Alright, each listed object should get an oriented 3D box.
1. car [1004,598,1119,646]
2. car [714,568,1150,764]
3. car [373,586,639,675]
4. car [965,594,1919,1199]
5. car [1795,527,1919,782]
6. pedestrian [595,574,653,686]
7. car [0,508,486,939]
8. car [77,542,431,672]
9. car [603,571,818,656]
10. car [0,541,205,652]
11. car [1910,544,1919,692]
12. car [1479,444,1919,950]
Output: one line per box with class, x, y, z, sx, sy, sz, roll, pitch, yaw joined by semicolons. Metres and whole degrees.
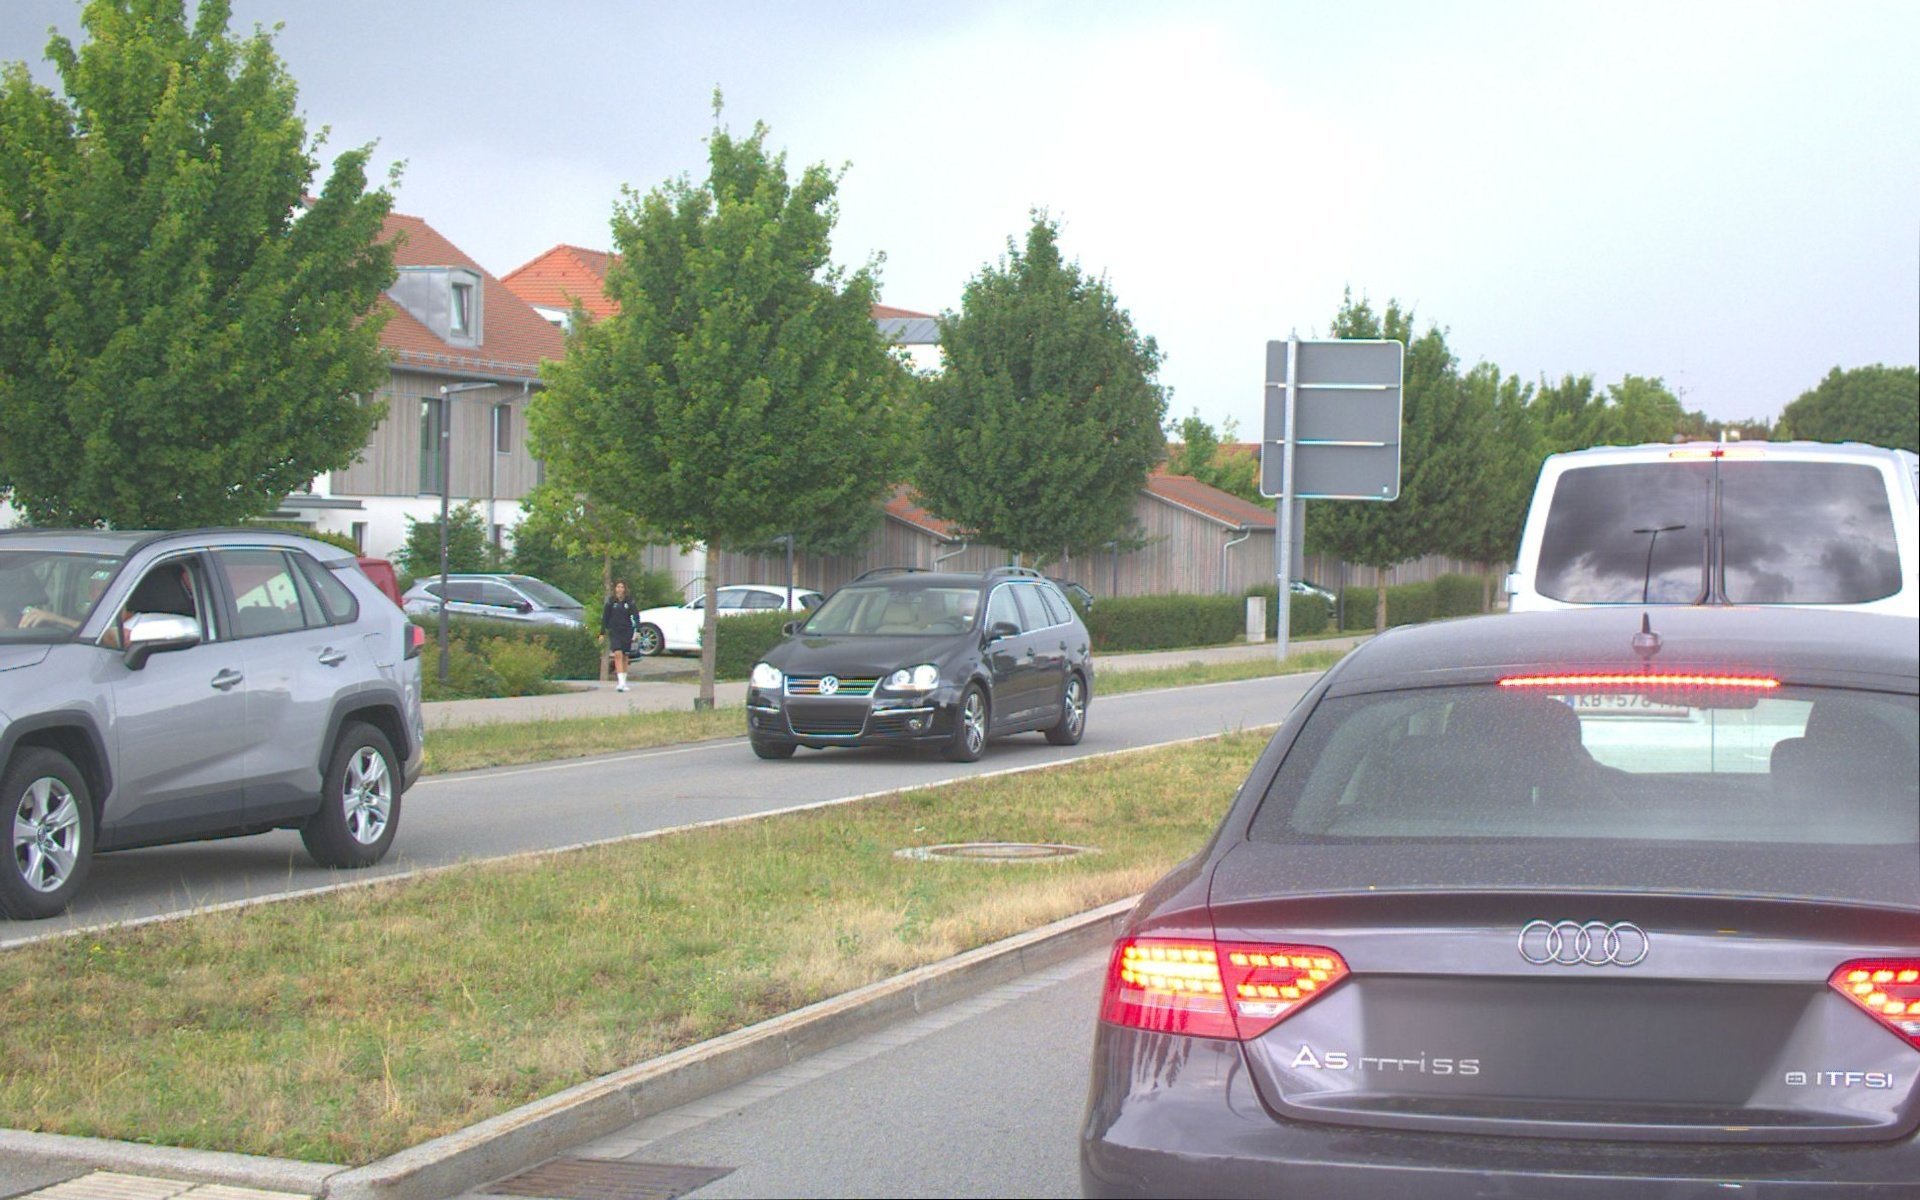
car;2.359;0.513;79.961;2.473;1.025;1.185;2;1;13
car;-0.116;0.466;27.164;1.755;1.411;4.450;-1;0;24
car;-7.463;0.485;56.631;3.917;1.310;1.841;2;1;17
car;1.447;0.712;6.792;1.785;1.387;4.129;1;1;16
car;6.901;0.341;23.838;1.778;1.612;3.996;2;1;19
pedestrian;-4.753;0.419;48.611;0.581;1.553;0.660;1;1;-26
car;-4.120;0.466;15.585;1.995;1.698;4.630;0;1;20
car;-9.988;0.073;48.656;4.535;1.674;1.998;2;1;22
car;-4.771;0.239;65.879;3.732;1.477;1.685;2;1;16
car;-14.937;-0.069;58.041;1.996;1.766;4.460;2;0;24
car;11.858;0.207;39.165;1.778;1.612;3.996;1;0;18
car;3.567;0.340;15.485;1.869;1.927;3.997;2;1;16
